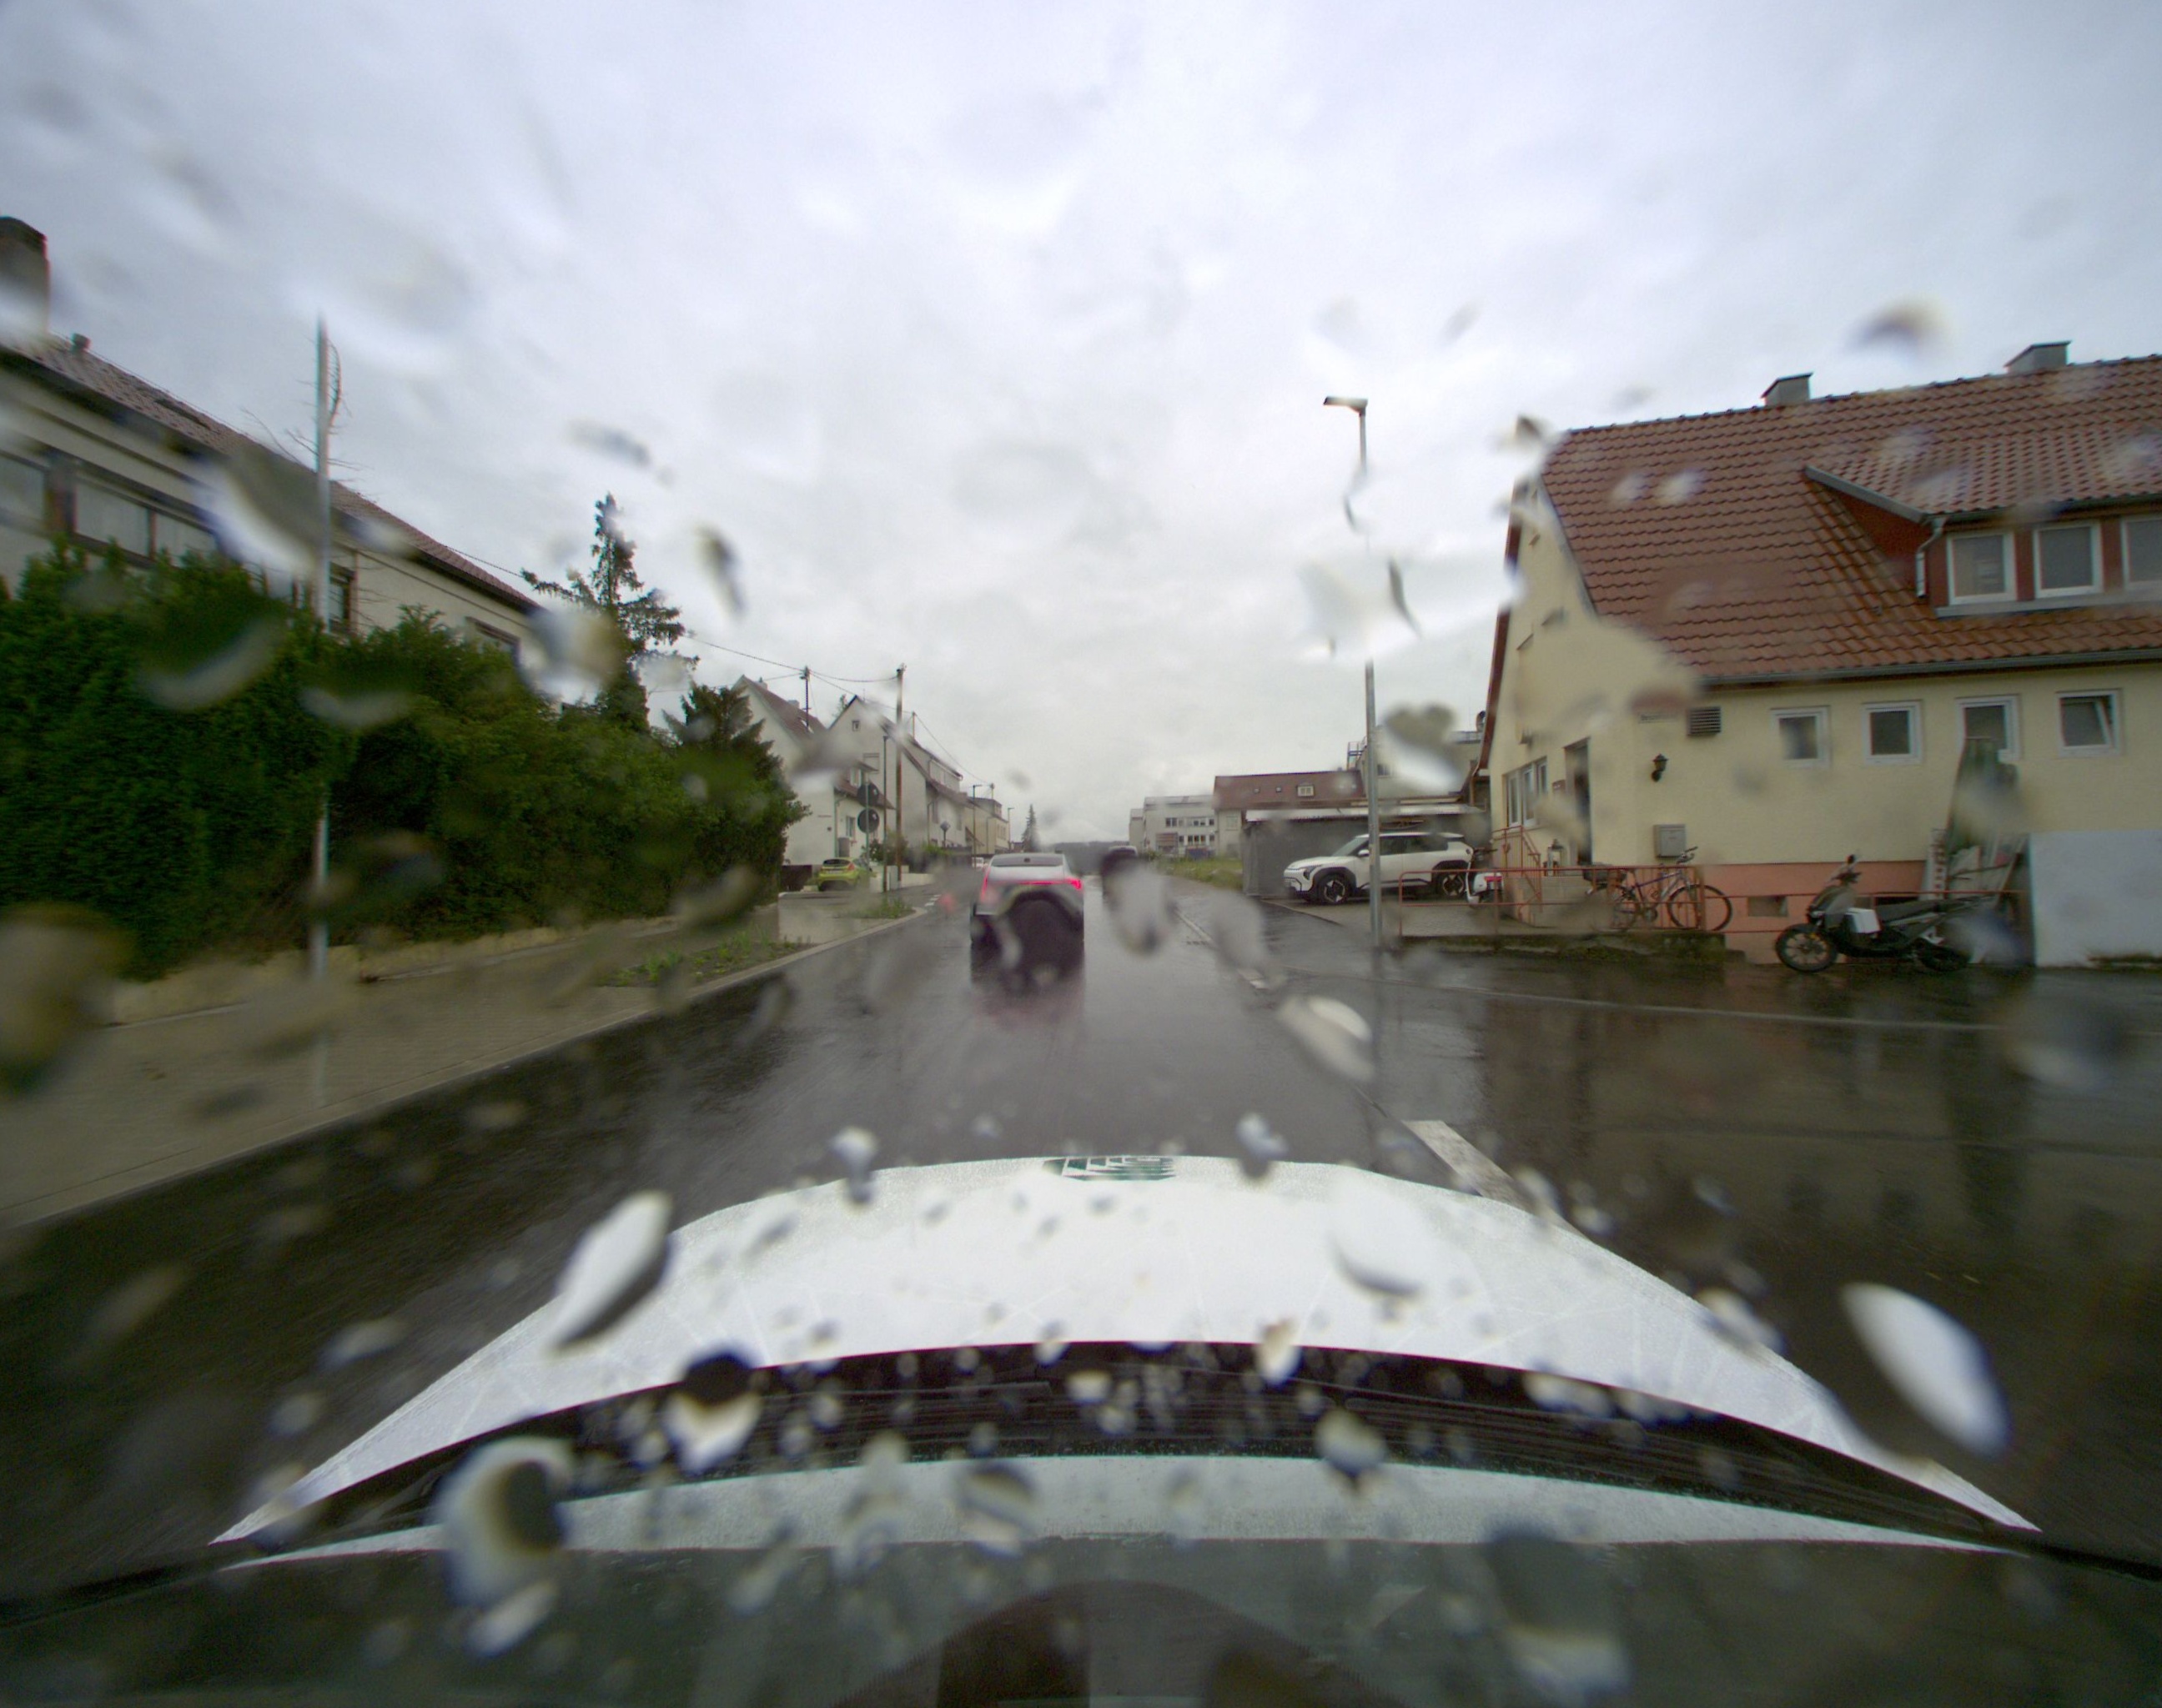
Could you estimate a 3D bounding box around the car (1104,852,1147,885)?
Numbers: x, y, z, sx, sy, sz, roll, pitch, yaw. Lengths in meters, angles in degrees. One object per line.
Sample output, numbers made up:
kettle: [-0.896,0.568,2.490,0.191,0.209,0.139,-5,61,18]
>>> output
car: [1.861,0.607,35.100,1.762,1.336,4.322,0,-1,1]

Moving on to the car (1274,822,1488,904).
car: [6.827,0.217,18.861,4.203,1.610,1.860,-3,-1,0]

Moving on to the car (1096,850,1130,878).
car: [1.829,0.600,48.272,1.638,1.575,4.638,0,-1,-3]

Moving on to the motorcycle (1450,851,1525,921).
motorcycle: [6.941,0.510,14.001,0.485,1.096,2.004,0,0,6]

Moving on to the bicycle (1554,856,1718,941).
bicycle: [7.431,0.579,10.977,1.757,1.096,0.491,0,0,15]

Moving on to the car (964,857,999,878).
car: [-7.765,1.039,64.118,1.986,1.510,4.897,2,-1,2]

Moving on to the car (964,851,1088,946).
car: [-0.967,0.752,15.488,1.988,1.502,4.665,-1,-1,-2]

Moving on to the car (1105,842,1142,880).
car: [2.132,0.368,41.857,1.762,1.825,4.575,0,-1,1]

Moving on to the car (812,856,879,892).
car: [-10.186,0.866,35.468,1.771,1.467,3.458,-1,-2,2]

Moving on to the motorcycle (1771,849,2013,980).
motorcycle: [9.438,0.688,9.549,2.018,1.456,0.491,-1,-1,14]
